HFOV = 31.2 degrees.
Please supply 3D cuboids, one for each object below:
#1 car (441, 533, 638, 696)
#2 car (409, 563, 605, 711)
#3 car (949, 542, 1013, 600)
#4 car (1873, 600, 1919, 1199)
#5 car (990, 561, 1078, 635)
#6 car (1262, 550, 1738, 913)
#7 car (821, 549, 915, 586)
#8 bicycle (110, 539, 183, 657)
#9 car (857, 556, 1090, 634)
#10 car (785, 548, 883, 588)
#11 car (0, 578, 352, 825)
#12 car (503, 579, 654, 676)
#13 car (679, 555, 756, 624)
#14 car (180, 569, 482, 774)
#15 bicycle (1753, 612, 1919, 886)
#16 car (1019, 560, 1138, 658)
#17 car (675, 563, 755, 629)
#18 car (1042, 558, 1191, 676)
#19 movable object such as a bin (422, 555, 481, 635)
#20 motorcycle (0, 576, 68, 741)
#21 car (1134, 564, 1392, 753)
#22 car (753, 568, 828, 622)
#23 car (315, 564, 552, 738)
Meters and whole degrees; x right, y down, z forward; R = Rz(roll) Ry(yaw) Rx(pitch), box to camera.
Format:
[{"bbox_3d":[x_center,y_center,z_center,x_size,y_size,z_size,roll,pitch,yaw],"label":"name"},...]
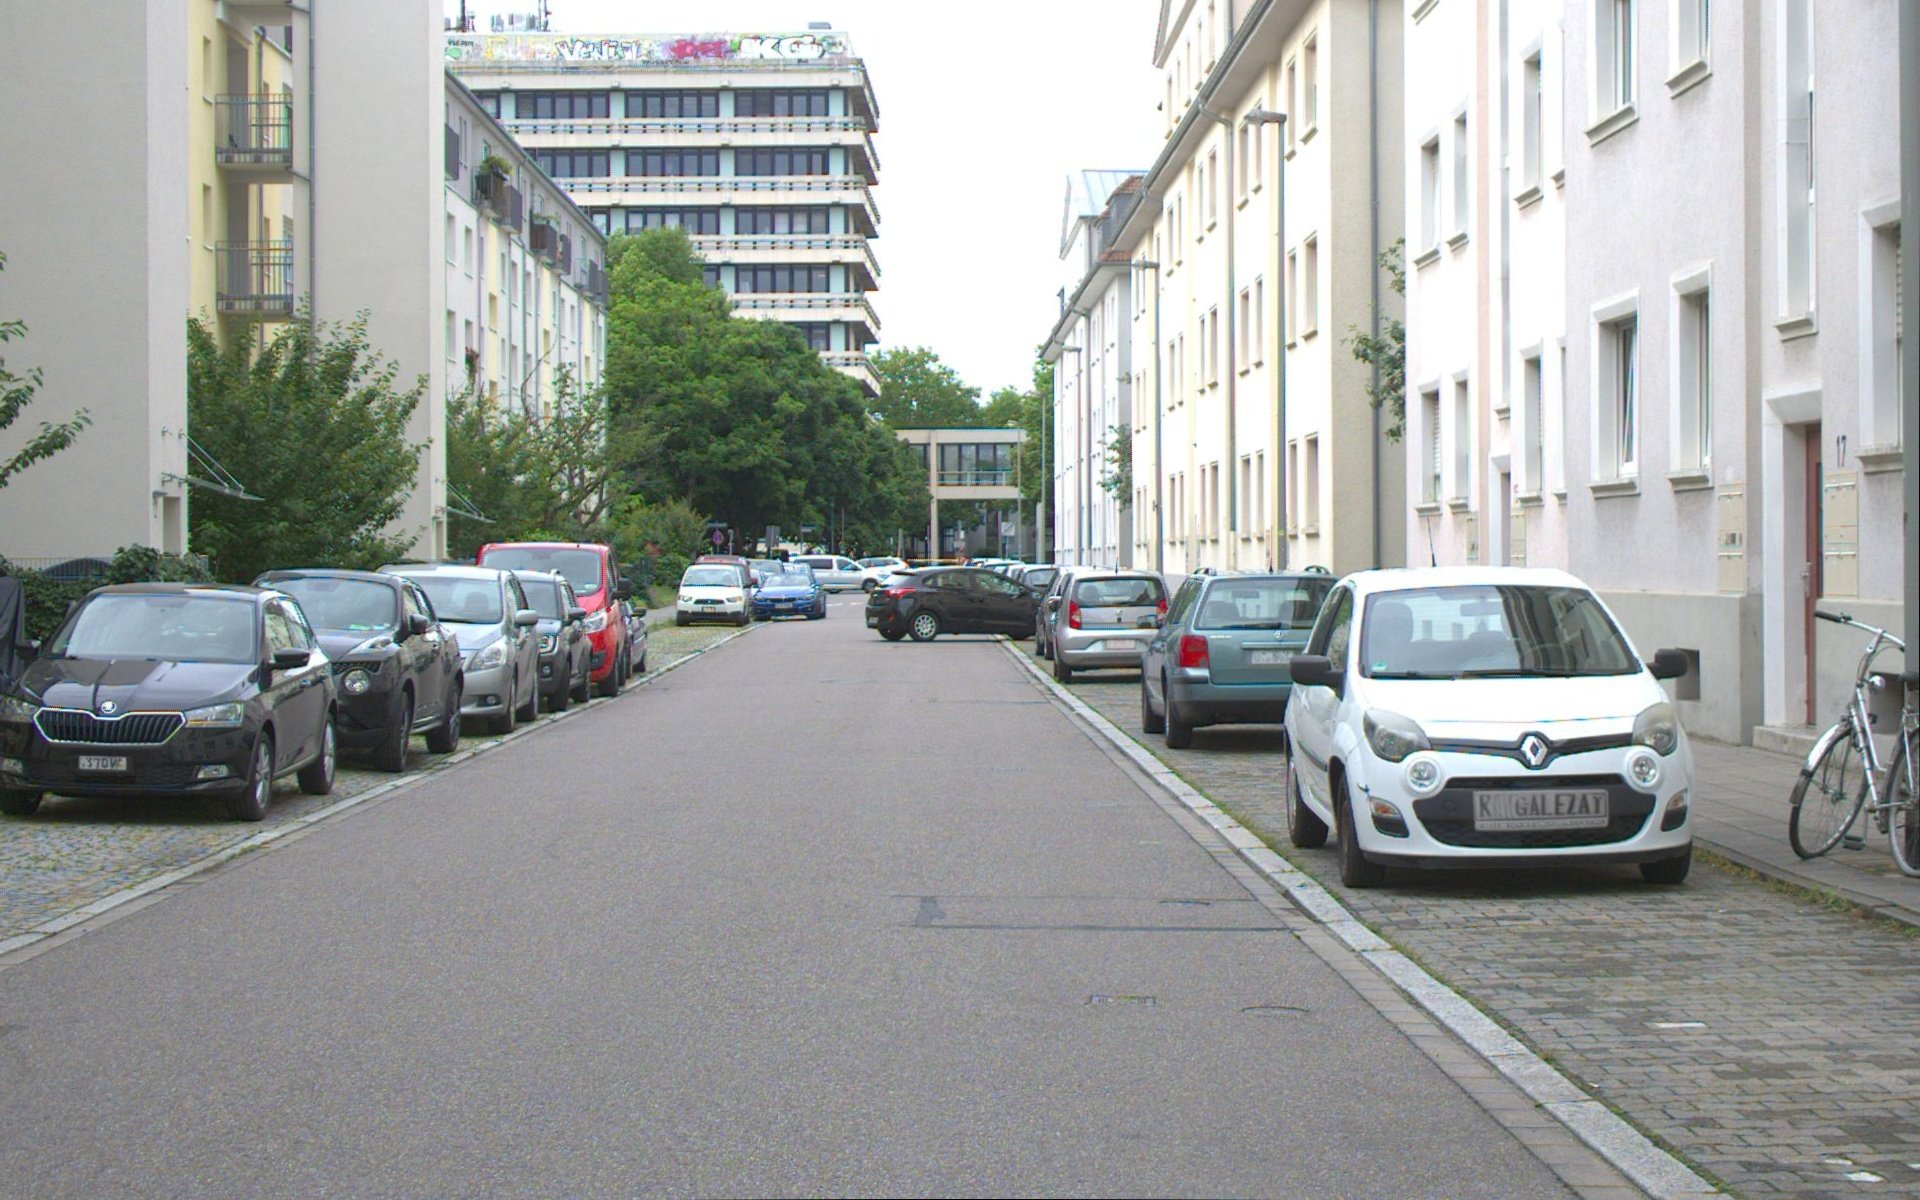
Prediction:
[{"bbox_3d":[-5.405,0.151,44.758,2.151,1.947,4.922,2,1,-3],"label":"car"},{"bbox_3d":[-5.150,0.383,39.514,1.720,1.564,4.054,2,1,-1],"label":"car"},{"bbox_3d":[0.616,-0.875,101.863,1.820,1.636,4.091,-2,1,0],"label":"car"},{"bbox_3d":[2.882,0.695,5.400,1.753,1.404,3.937,-2,1,-1],"label":"car"},{"bbox_3d":[1.562,-0.065,73.737,1.725,1.512,4.061,-1,1,-1],"label":"car"},{"bbox_3d":[2.564,0.561,17.165,1.783,1.594,3.805,-1,1,0],"label":"car"},{"bbox_3d":[-4.318,-1.521,161.262,4.193,1.646,1.897,-1,1,-7],"label":"car"},{"bbox_3d":[-8.460,-0.026,35.787,0.551,1.188,1.728,-1,1,-8],"label":"bicycle"},{"bbox_3d":[0.249,-0.104,66.826,4.218,1.428,1.910,-1,1,-12],"label":"car"},{"bbox_3d":[-5.804,-1.480,157.944,4.320,1.784,1.863,-1,1,-7],"label":"car"},{"bbox_3d":[-5.185,0.605,22.762,1.643,1.433,3.857,2,1,-1],"label":"car"},{"bbox_3d":[-5.594,0.381,50.818,1.870,1.319,4.362,1,0,-2],"label":"car"},{"bbox_3d":[-6.427,-0.287,91.390,1.956,1.764,4.362,1,1,-3],"label":"car"},{"bbox_3d":[-5.114,0.531,28.391,1.653,1.525,3.895,2,1,1],"label":"car"},{"bbox_3d":[4.219,0.641,15.804,0.605,1.136,2.125,-1,1,-1],"label":"bicycle"},{"bbox_3d":[1.906,0.117,56.324,1.725,1.512,4.061,-1,1,-1],"label":"car"},{"bbox_3d":[-6.064,-0.123,85.557,1.720,1.564,3.870,2,1,-1],"label":"car"},{"bbox_3d":[2.055,0.191,46.065,1.725,1.487,4.061,-1,1,-1],"label":"car"},{"bbox_3d":[-9.209,-0.099,62.259,0.803,1.424,1.288,1,0,3],"label":"movable object such as a bin"},{"bbox_3d":[-8.141,0.460,28.491,0.869,1.302,2.420,1,1,-1],"label":"motorcycle"},{"bbox_3d":[2.504,0.438,29.306,1.725,1.464,4.264,-1,1,-1],"label":"car"},{"bbox_3d":[-4.743,-0.161,96.777,1.845,1.446,4.501,0,1,0],"label":"car"},{"bbox_3d":[-5.174,0.452,34.356,1.834,1.564,4.862,2,1,-3],"label":"car"}]
